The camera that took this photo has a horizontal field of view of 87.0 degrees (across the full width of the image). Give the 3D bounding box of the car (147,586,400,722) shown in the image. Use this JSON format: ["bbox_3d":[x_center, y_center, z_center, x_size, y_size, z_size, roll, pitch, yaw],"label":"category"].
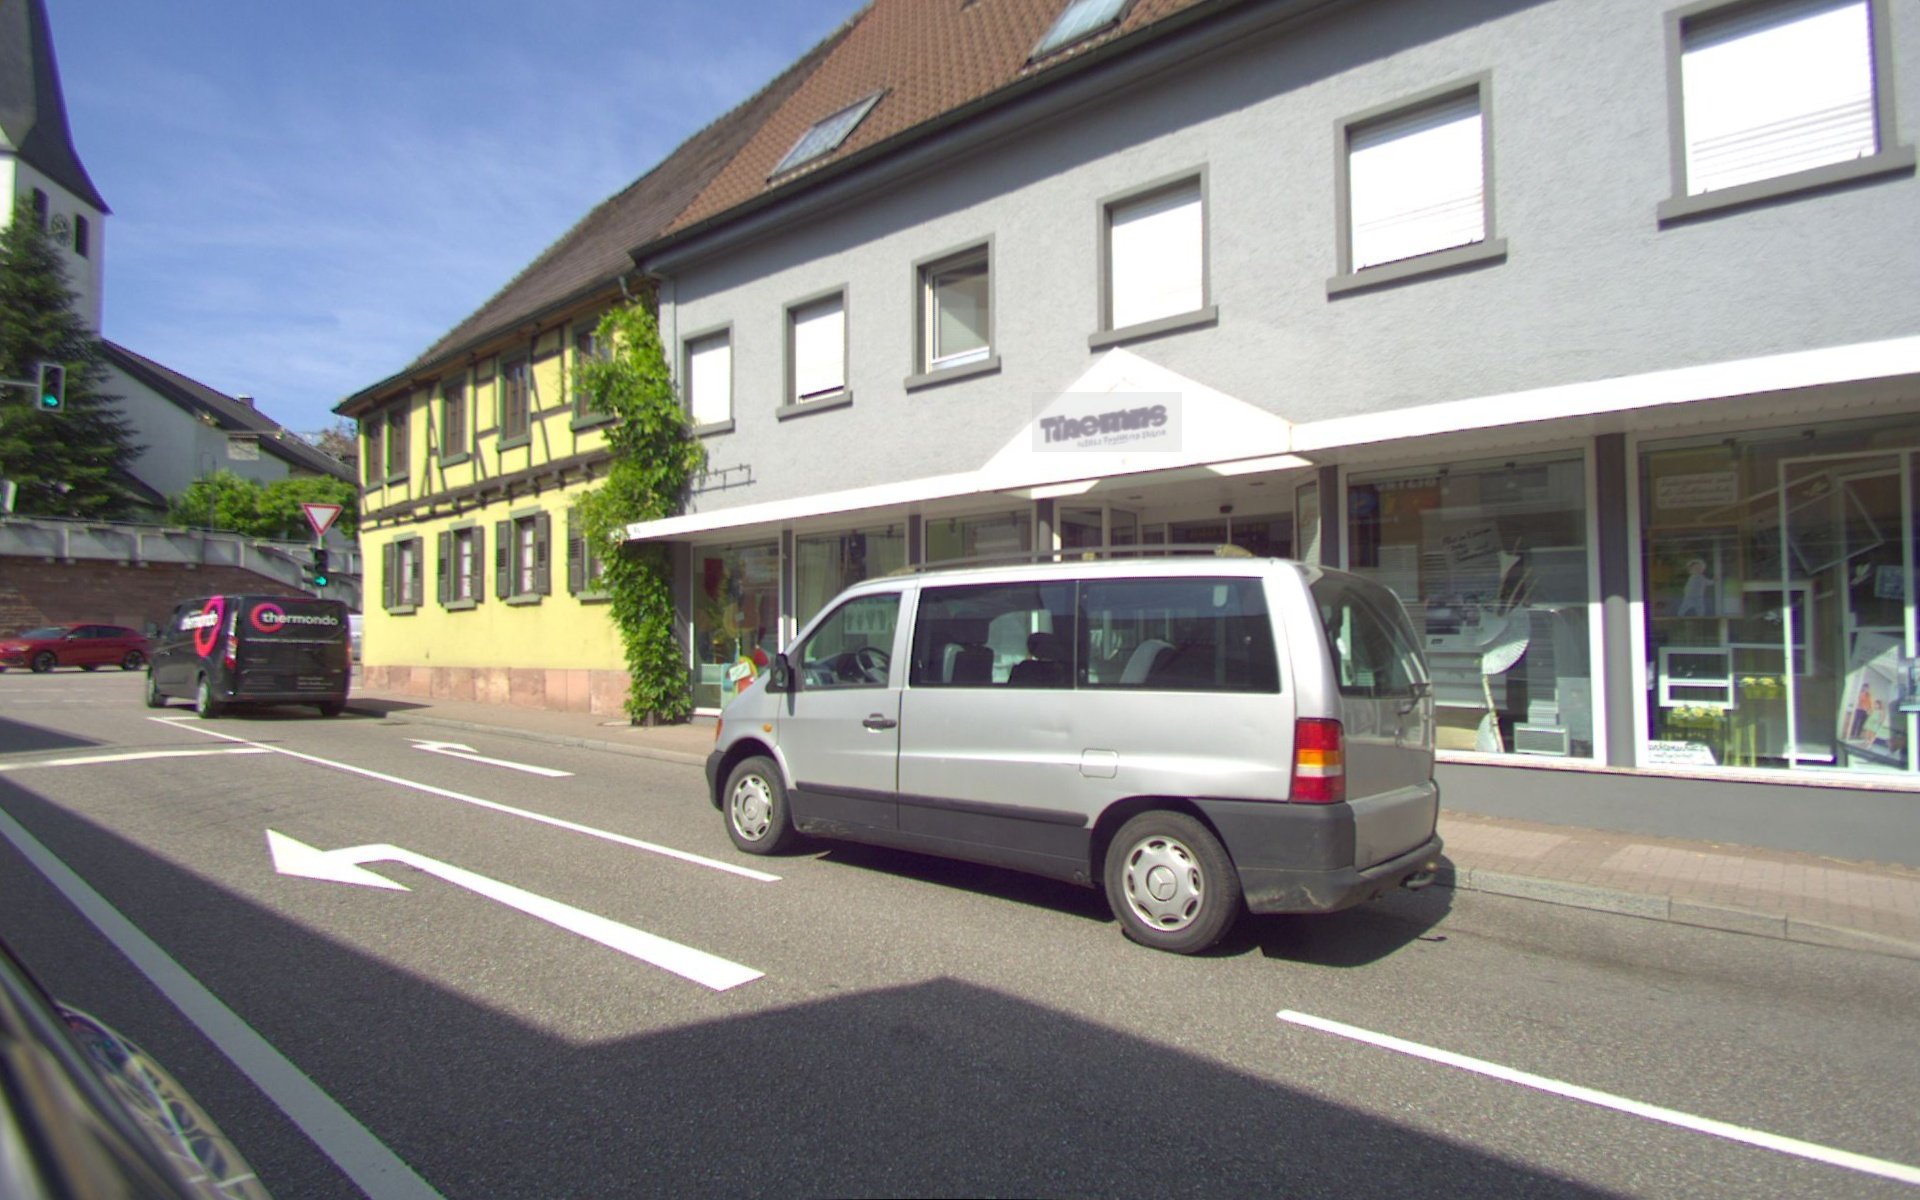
[{"bbox_3d":[-11.607,0.900,16.958,5.162,1.938,2.136,-1,-5,41],"label":"car"}]

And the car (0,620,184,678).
[{"bbox_3d":[-25.913,1.381,29.647,2.141,1.527,4.933,0,-2,9],"label":"car"}]

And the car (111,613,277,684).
[{"bbox_3d":[-19.834,1.259,26.456,1.732,1.622,4.440,4,-3,-14],"label":"car"}]

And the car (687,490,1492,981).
[{"bbox_3d":[0.501,0.622,6.146,4.548,1.905,1.864,-2,-5,40],"label":"car"}]
